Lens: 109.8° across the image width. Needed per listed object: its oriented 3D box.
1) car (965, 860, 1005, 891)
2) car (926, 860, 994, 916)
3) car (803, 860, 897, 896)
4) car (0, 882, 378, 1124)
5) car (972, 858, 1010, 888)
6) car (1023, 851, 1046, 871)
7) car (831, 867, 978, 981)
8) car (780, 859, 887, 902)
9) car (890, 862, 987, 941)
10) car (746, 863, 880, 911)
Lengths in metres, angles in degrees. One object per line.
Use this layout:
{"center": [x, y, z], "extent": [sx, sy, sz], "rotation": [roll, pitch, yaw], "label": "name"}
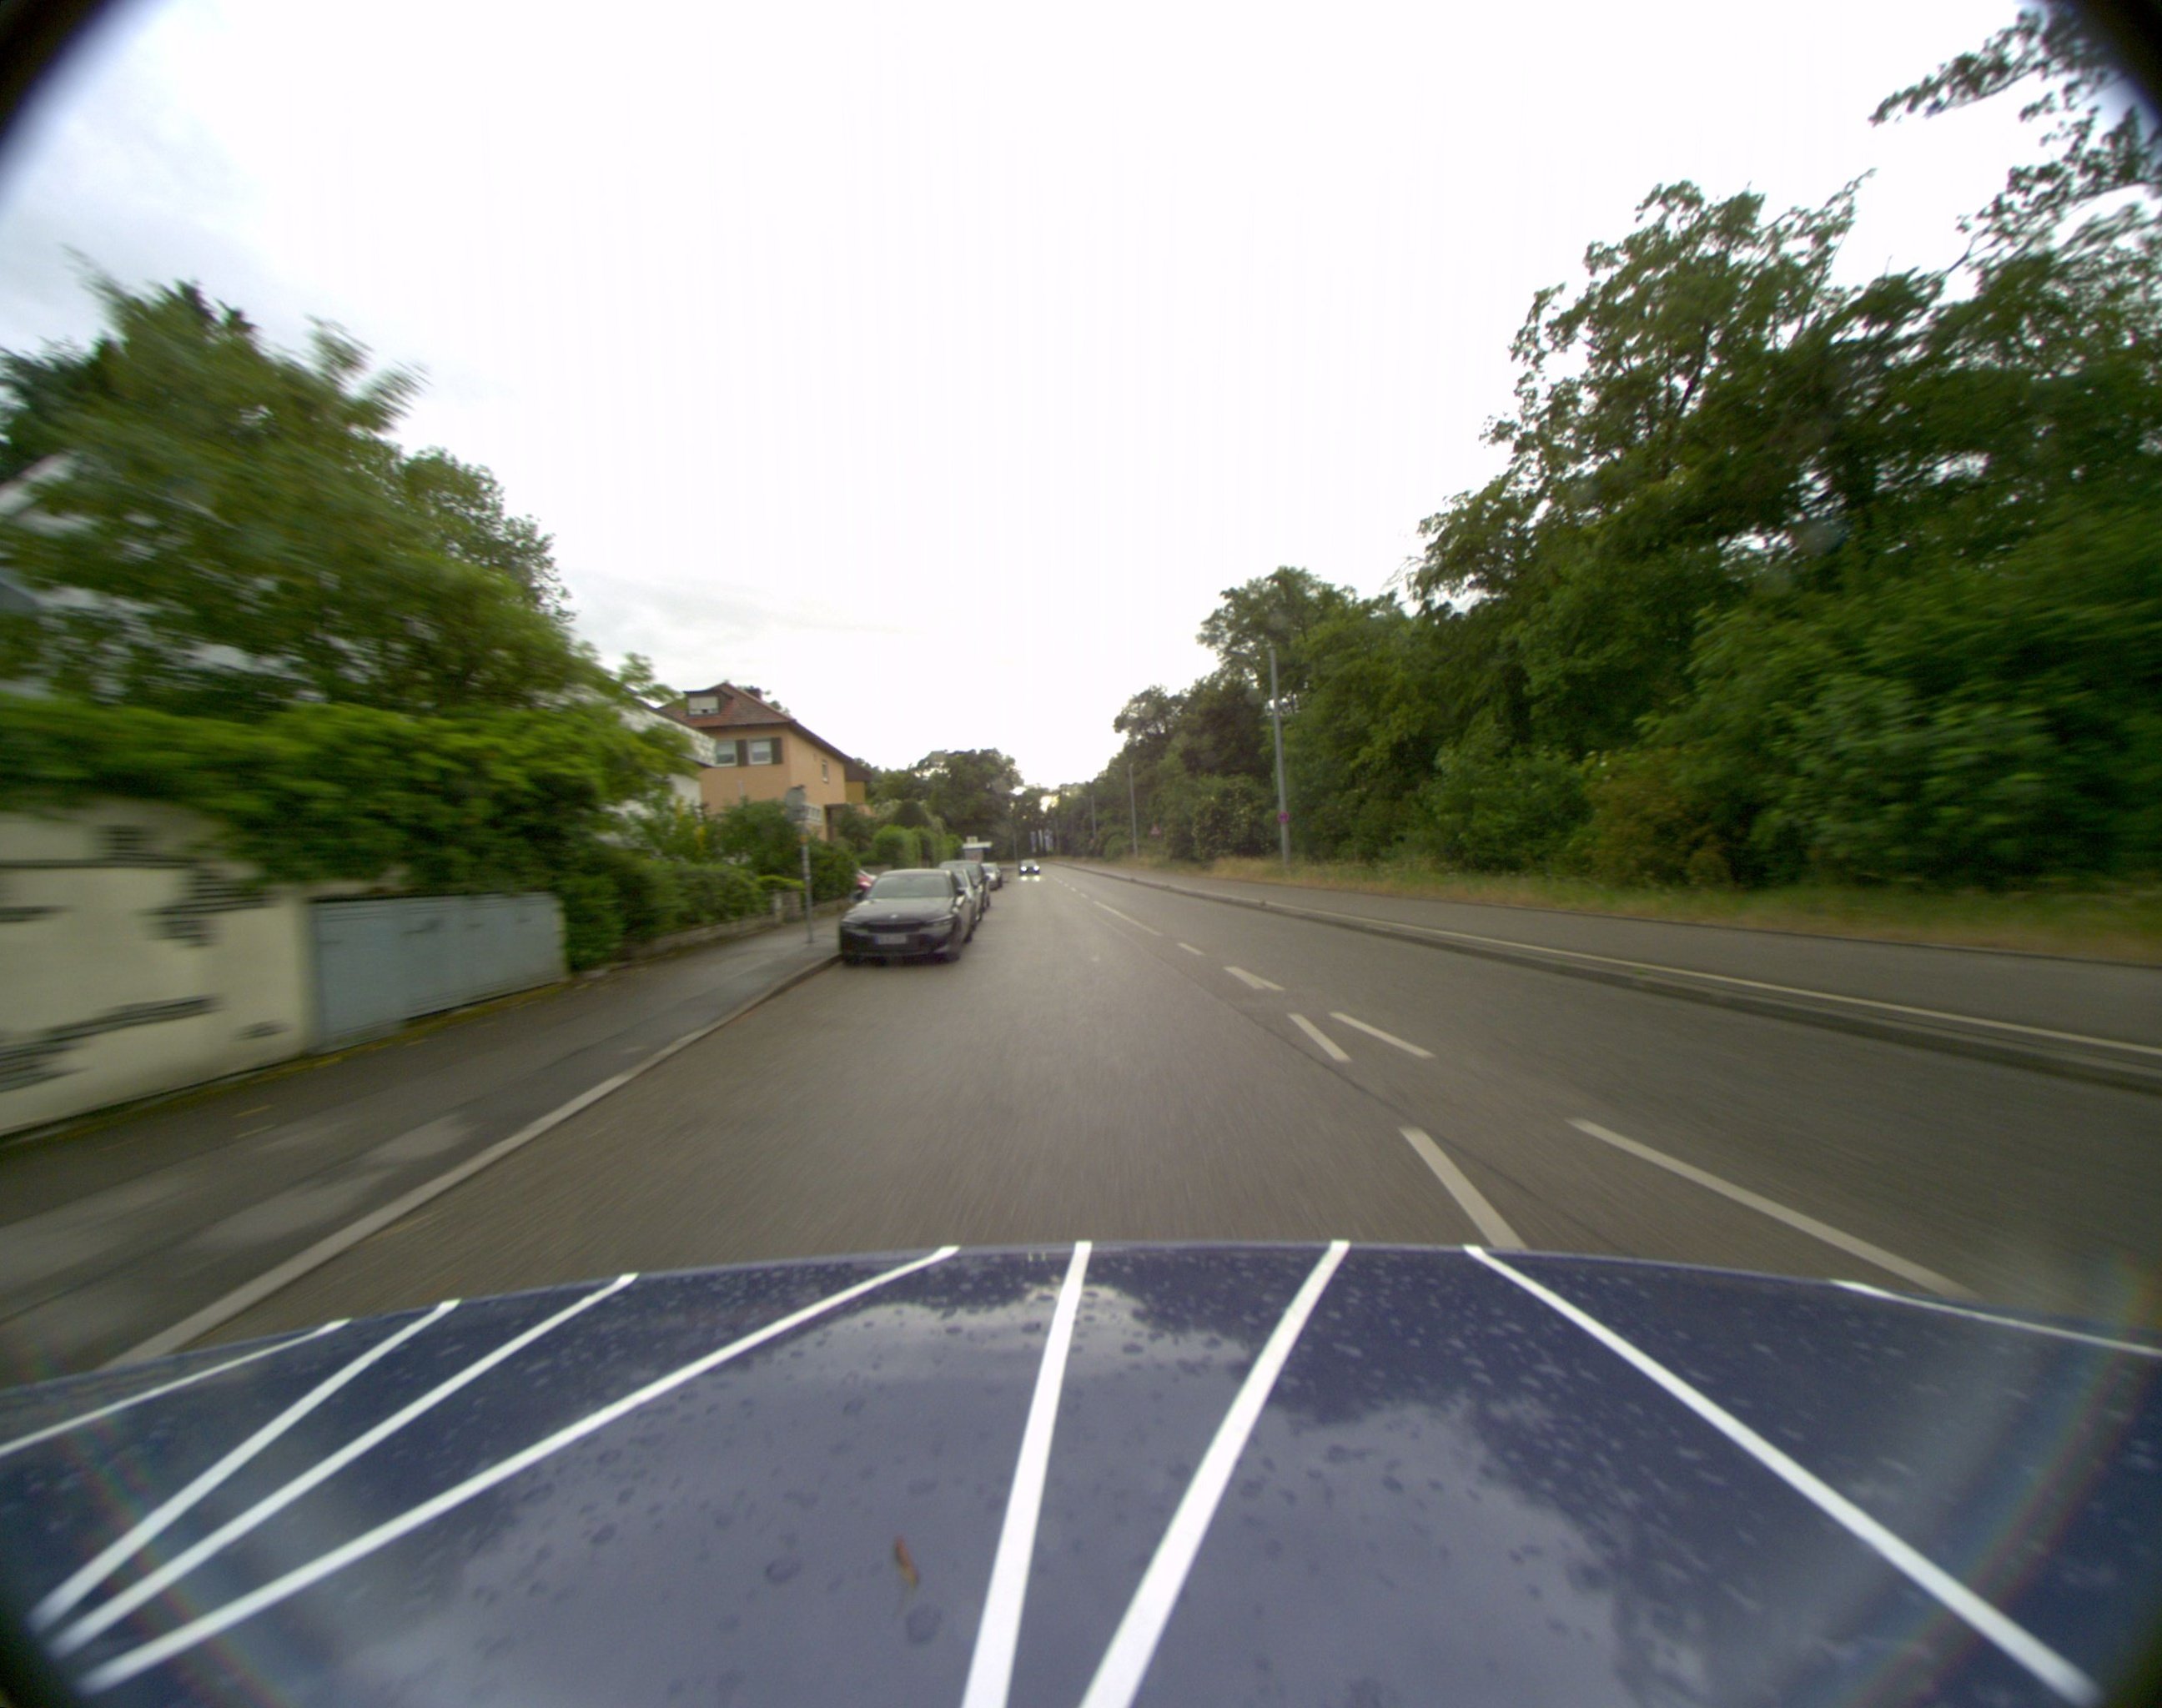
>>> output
{"center": [-5.117, 1.123, 40.893], "extent": [1.818, 1.390, 4.100], "rotation": [-3, 1, -3], "label": "car"}
{"center": [-3.826, 1.029, 24.662], "extent": [1.735, 1.558, 4.520], "rotation": [-2, 0, -4], "label": "car"}
{"center": [-10.064, 1.032, 33.282], "extent": [3.669, 1.527, 1.827], "rotation": [0, 0, -7], "label": "car"}
{"center": [-8.918, 1.213, 6.446], "extent": [1.937, 1.587, 4.339], "rotation": [-4, 1, -4], "label": "car"}
{"center": [-5.324, 1.093, 45.449], "extent": [1.835, 1.538, 4.627], "rotation": [-3, 1, -3], "label": "car"}
{"center": [-4.321, 0.645, 71.369], "extent": [1.999, 1.714, 3.999], "rotation": [-2, 0, -2], "label": "car"}
{"center": [-2.872, 1.054, 13.336], "extent": [1.757, 1.435, 4.598], "rotation": [-3, 1, -4], "label": "car"}
{"center": [-9.790, 1.029, 30.298], "extent": [3.668, 1.557, 1.881], "rotation": [-1, 1, -5], "label": "car"}
{"center": [-3.338, 1.050, 18.591], "extent": [1.798, 1.478, 4.492], "rotation": [-3, 1, -5], "label": "car"}
{"center": [-9.864, 1.183, 28.221], "extent": [4.257, 1.452, 1.881], "rotation": [-3, 1, -5], "label": "car"}
